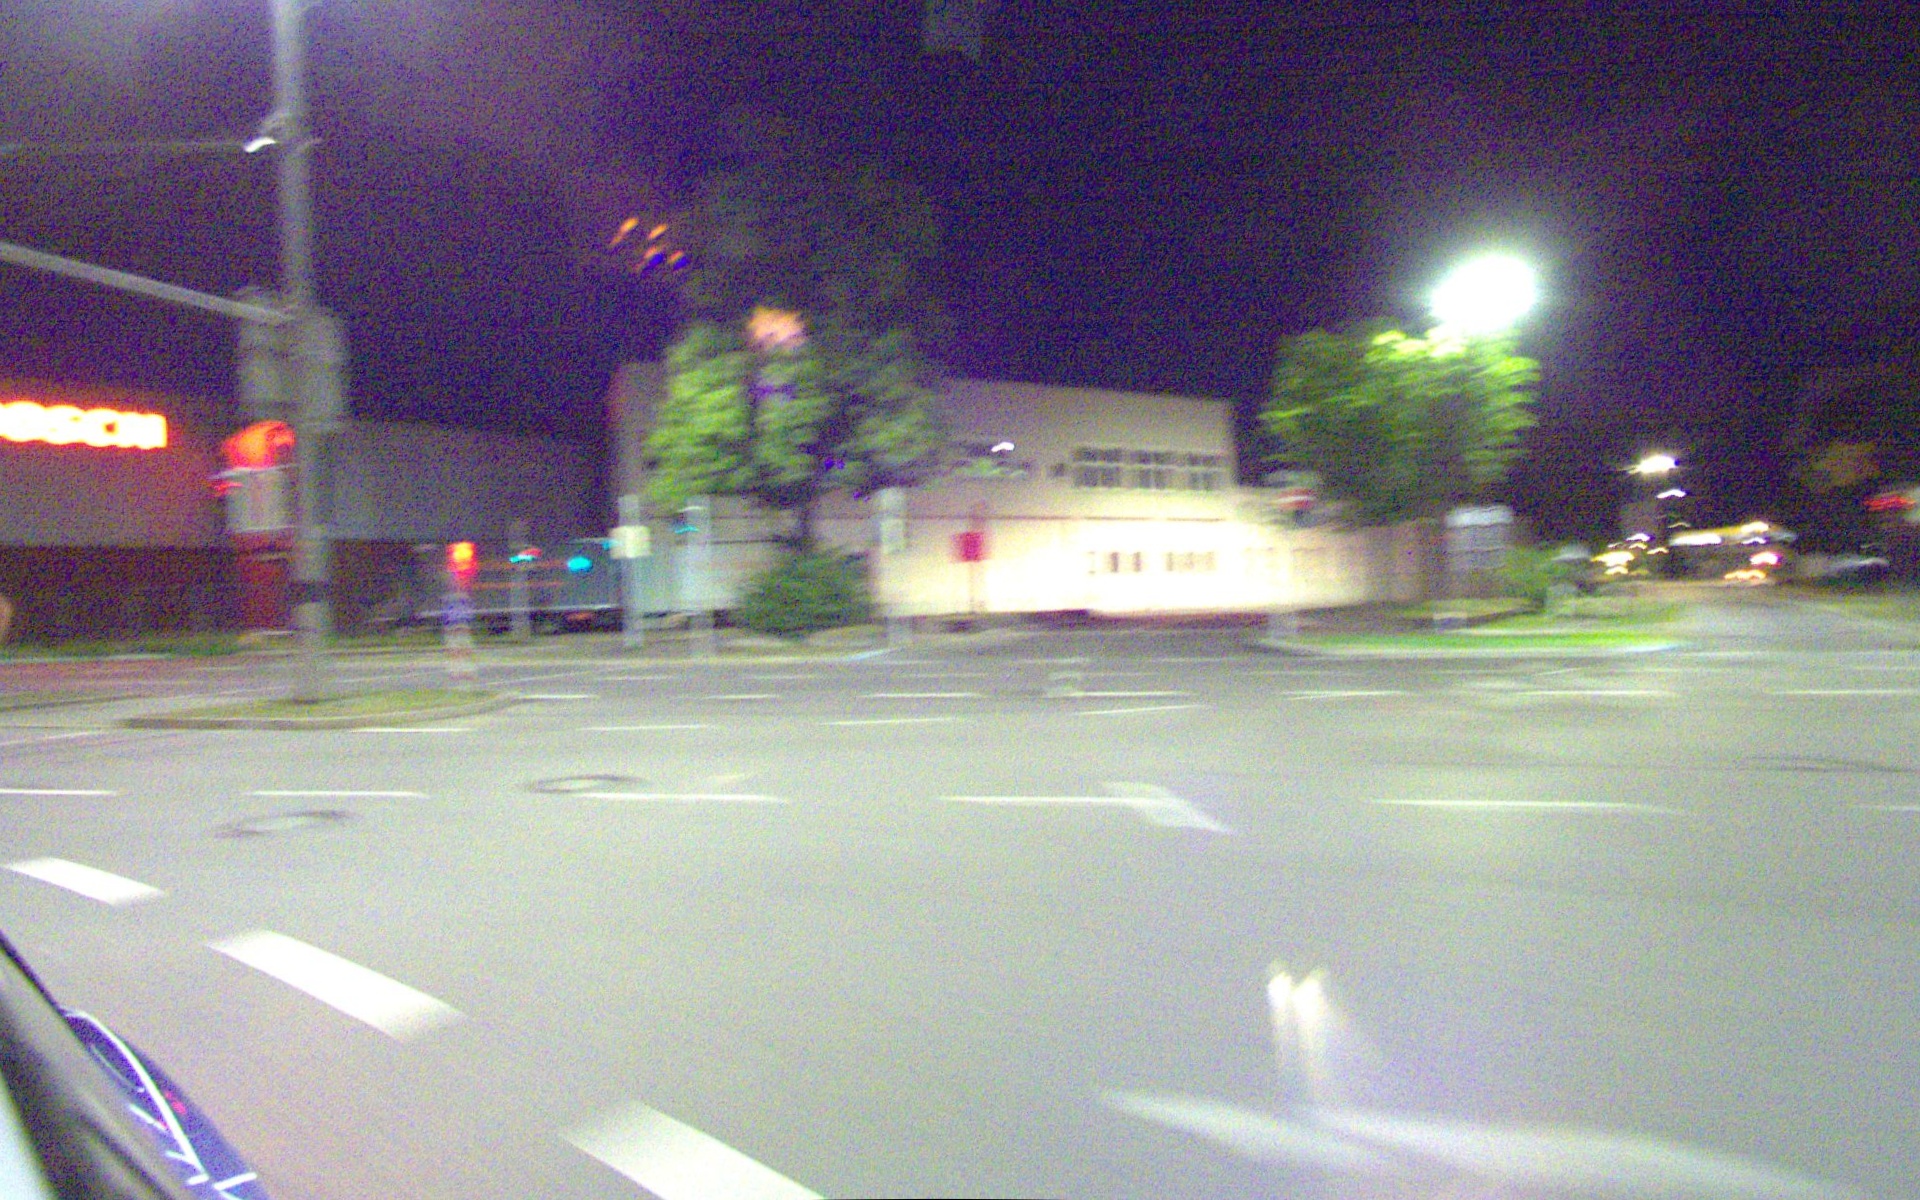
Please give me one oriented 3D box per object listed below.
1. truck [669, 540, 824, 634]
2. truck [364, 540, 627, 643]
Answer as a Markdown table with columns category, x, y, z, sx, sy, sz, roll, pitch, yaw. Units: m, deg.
| category | x | y | z | sx | sy | sz | roll | pitch | yaw |
| --- | --- | --- | --- | --- | --- | --- | --- | --- | --- |
| truck | -9.131 | -0.591 | 43.239 | 6.101 | 3.721 | 2.409 | -2 | 1 | -18 |
| truck | -18.144 | -0.388 | 40.148 | 9.201 | 3.750 | 2.006 | -2 | 1 | -15 |
